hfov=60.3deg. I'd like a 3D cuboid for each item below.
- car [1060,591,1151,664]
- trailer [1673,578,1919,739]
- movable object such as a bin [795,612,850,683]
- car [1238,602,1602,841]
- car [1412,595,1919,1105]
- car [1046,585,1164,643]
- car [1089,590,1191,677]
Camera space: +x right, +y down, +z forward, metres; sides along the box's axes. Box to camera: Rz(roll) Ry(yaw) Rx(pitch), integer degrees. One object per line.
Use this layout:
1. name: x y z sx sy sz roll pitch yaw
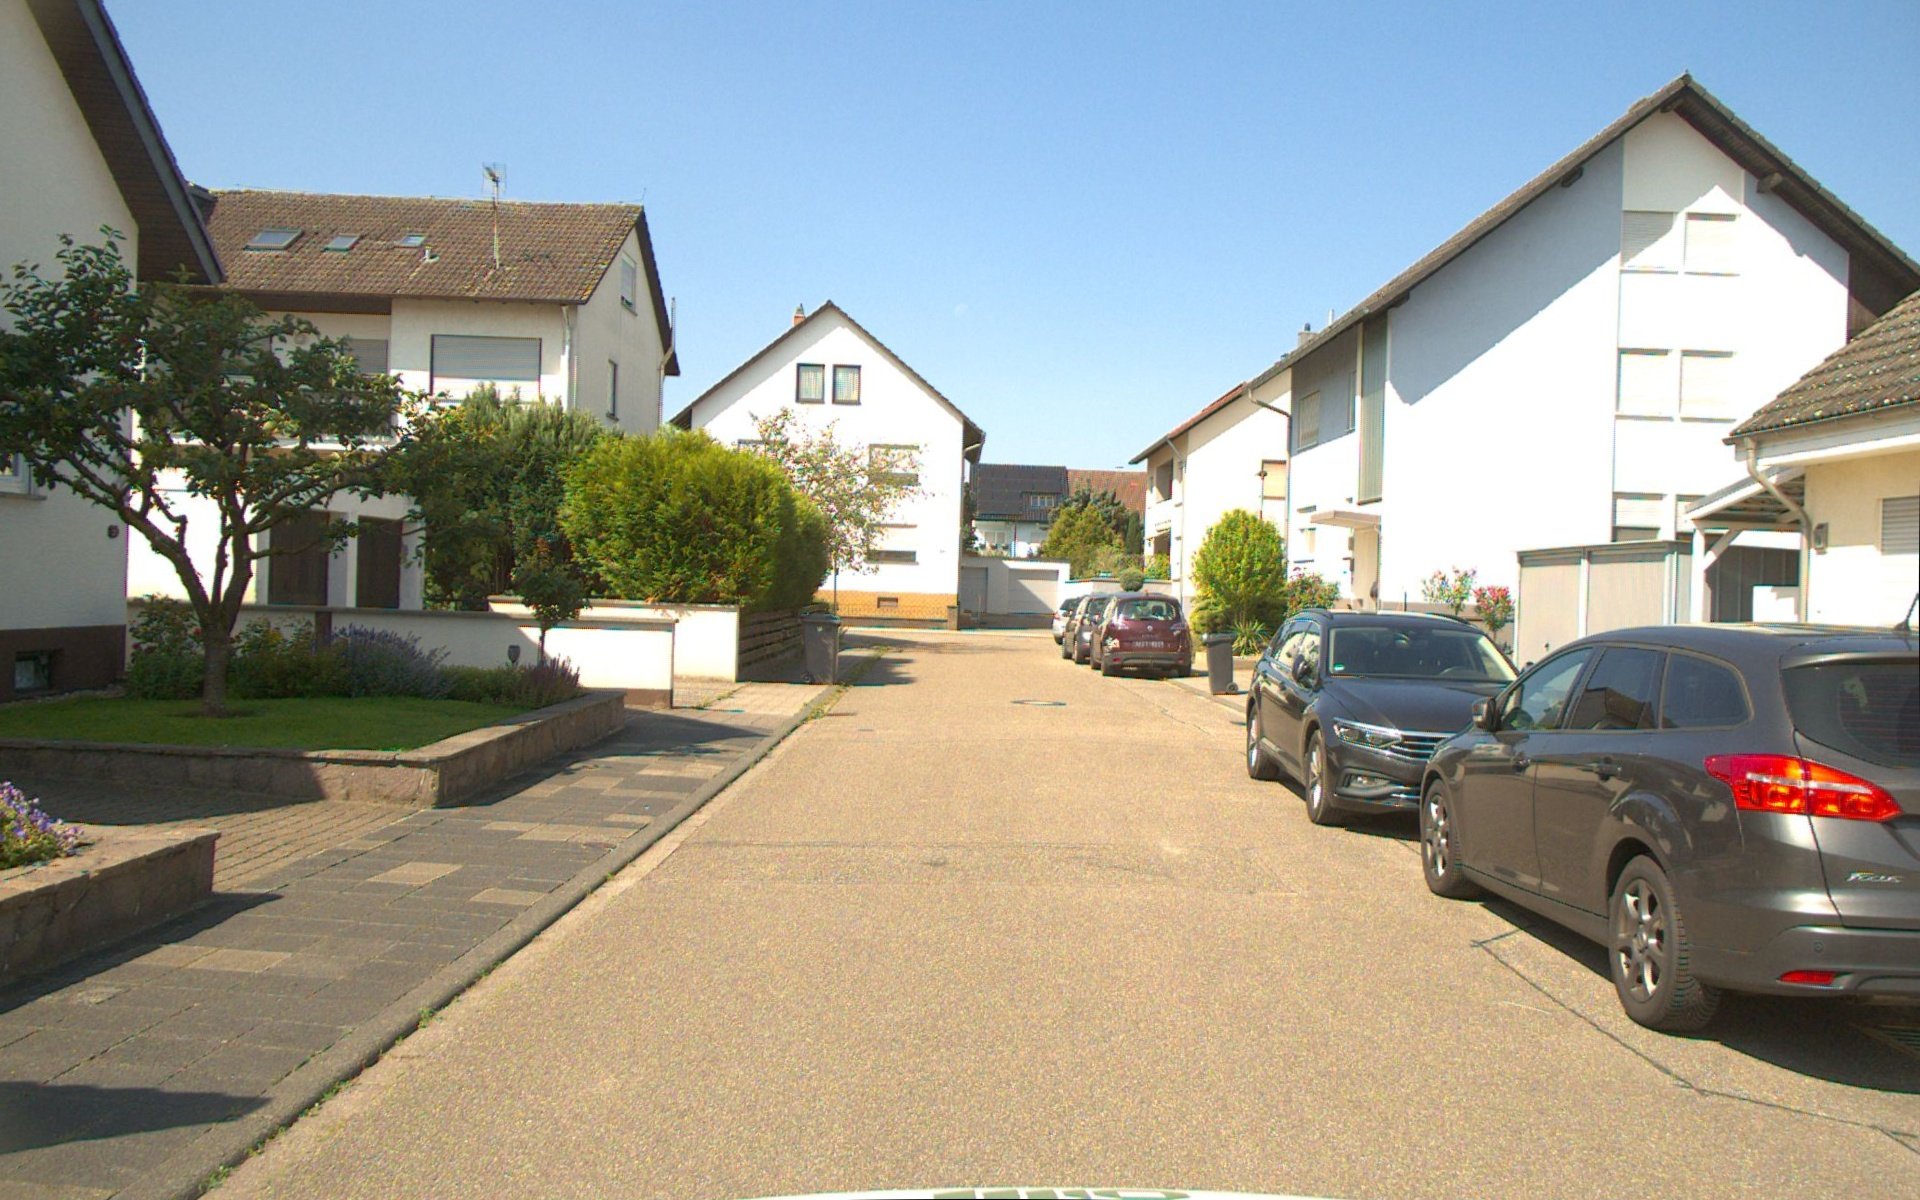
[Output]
1. car: 3.339 0.597 38.600 1.612 1.573 4.046 1 0 -2
2. trailer: 9.829 0.640 18.860 2.776 1.719 1.403 1 0 0
3. movable object such as a bin: -2.163 0.744 26.041 0.801 1.082 0.611 1 0 -1
4. car: 3.343 0.785 12.911 1.682 1.463 4.504 1 0 2
5. car: 3.366 0.807 7.162 1.609 1.504 4.000 3 1 -1
6. car: 4.385 0.437 49.655 1.620 1.609 3.789 3 0 39
7. car: 3.608 0.628 33.684 1.611 1.609 4.147 1 0 0
